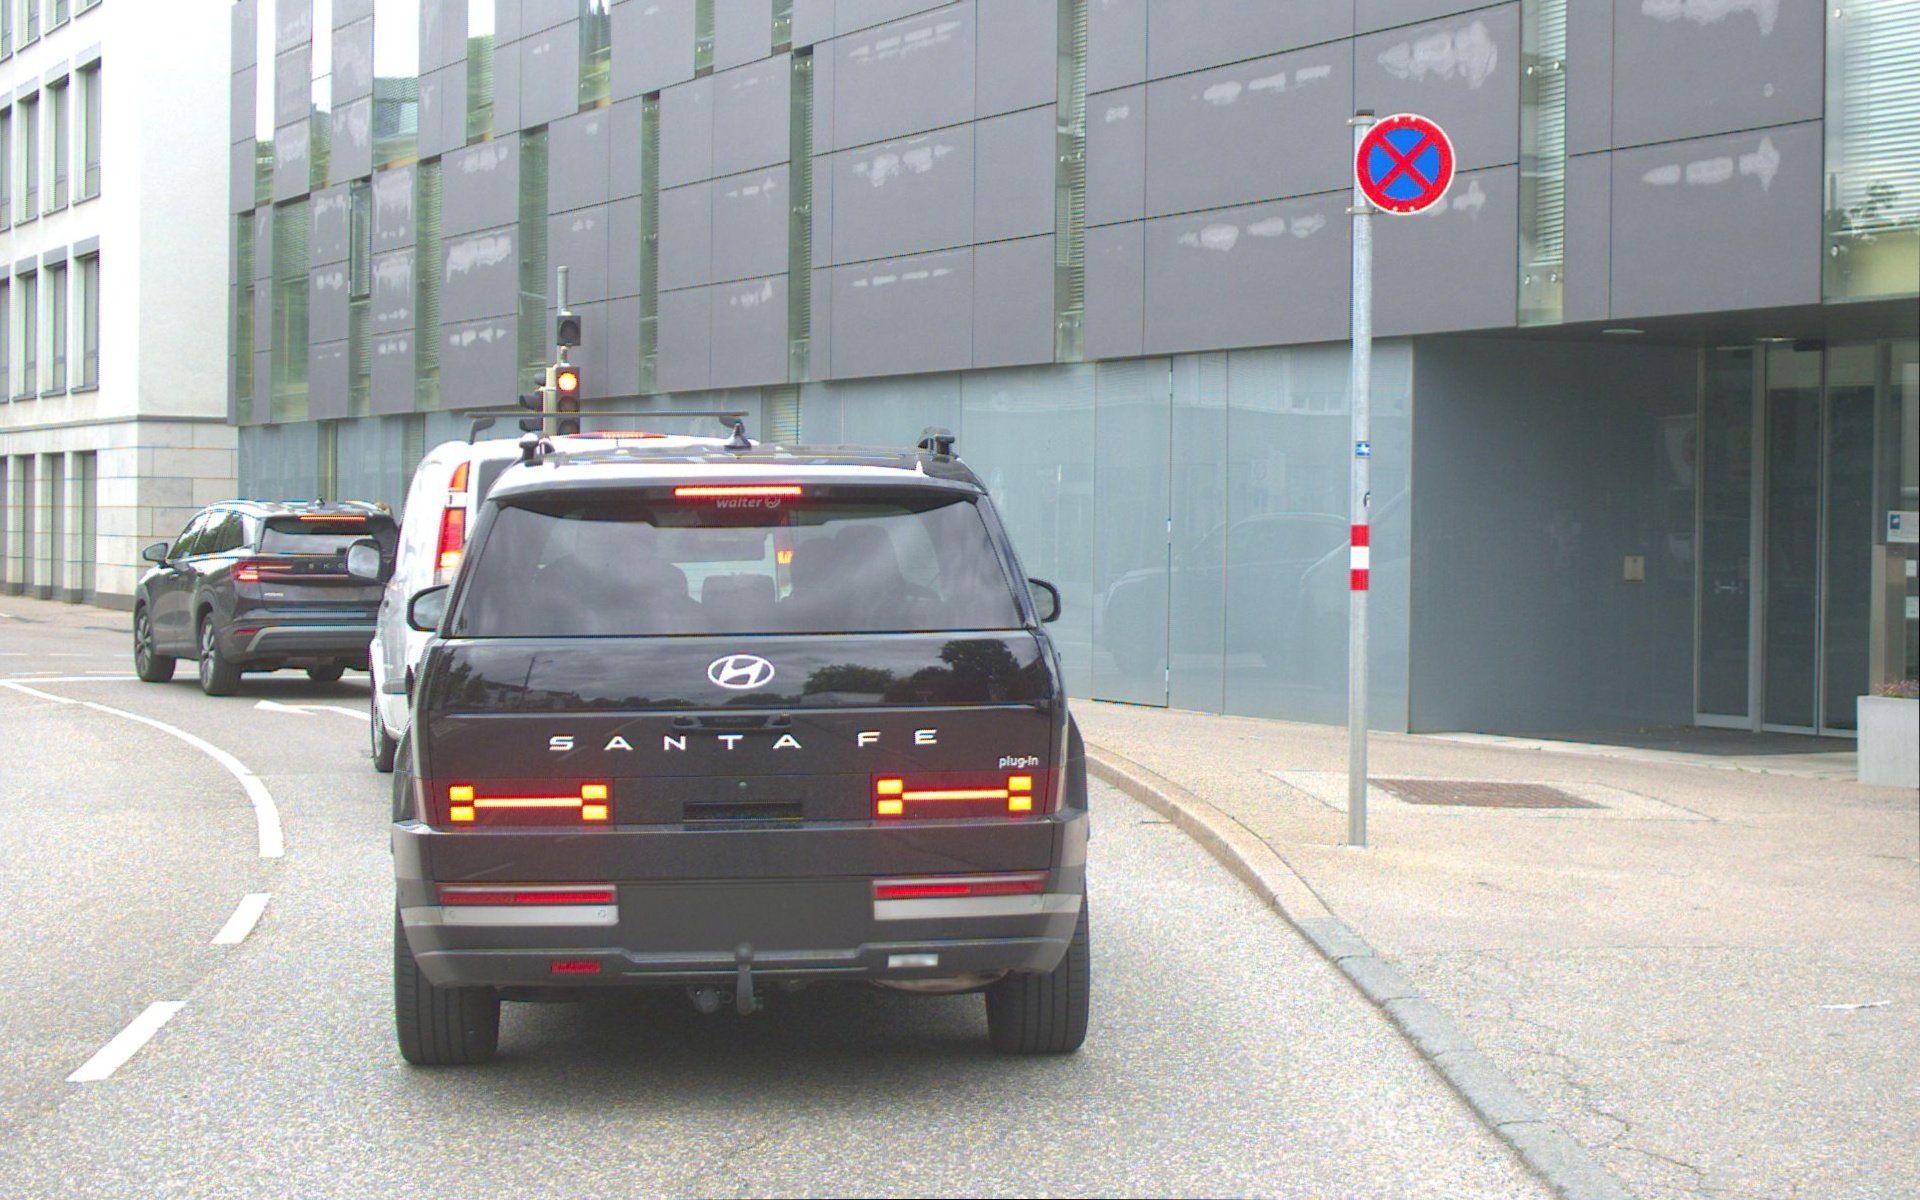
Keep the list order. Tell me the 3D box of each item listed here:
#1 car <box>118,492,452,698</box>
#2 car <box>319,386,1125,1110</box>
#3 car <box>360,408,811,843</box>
[{"bbox_3d":[-6.016,-0.083,30.256,1.847,1.671,4.376,-1,1,-25],"label":"car"},{"bbox_3d":[-0.729,0.322,10.558,1.915,1.719,4.171,2,1,-4],"label":"car"},{"bbox_3d":[-2.134,0.054,18.388,1.855,2.026,4.439,0,2,-13],"label":"car"}]
